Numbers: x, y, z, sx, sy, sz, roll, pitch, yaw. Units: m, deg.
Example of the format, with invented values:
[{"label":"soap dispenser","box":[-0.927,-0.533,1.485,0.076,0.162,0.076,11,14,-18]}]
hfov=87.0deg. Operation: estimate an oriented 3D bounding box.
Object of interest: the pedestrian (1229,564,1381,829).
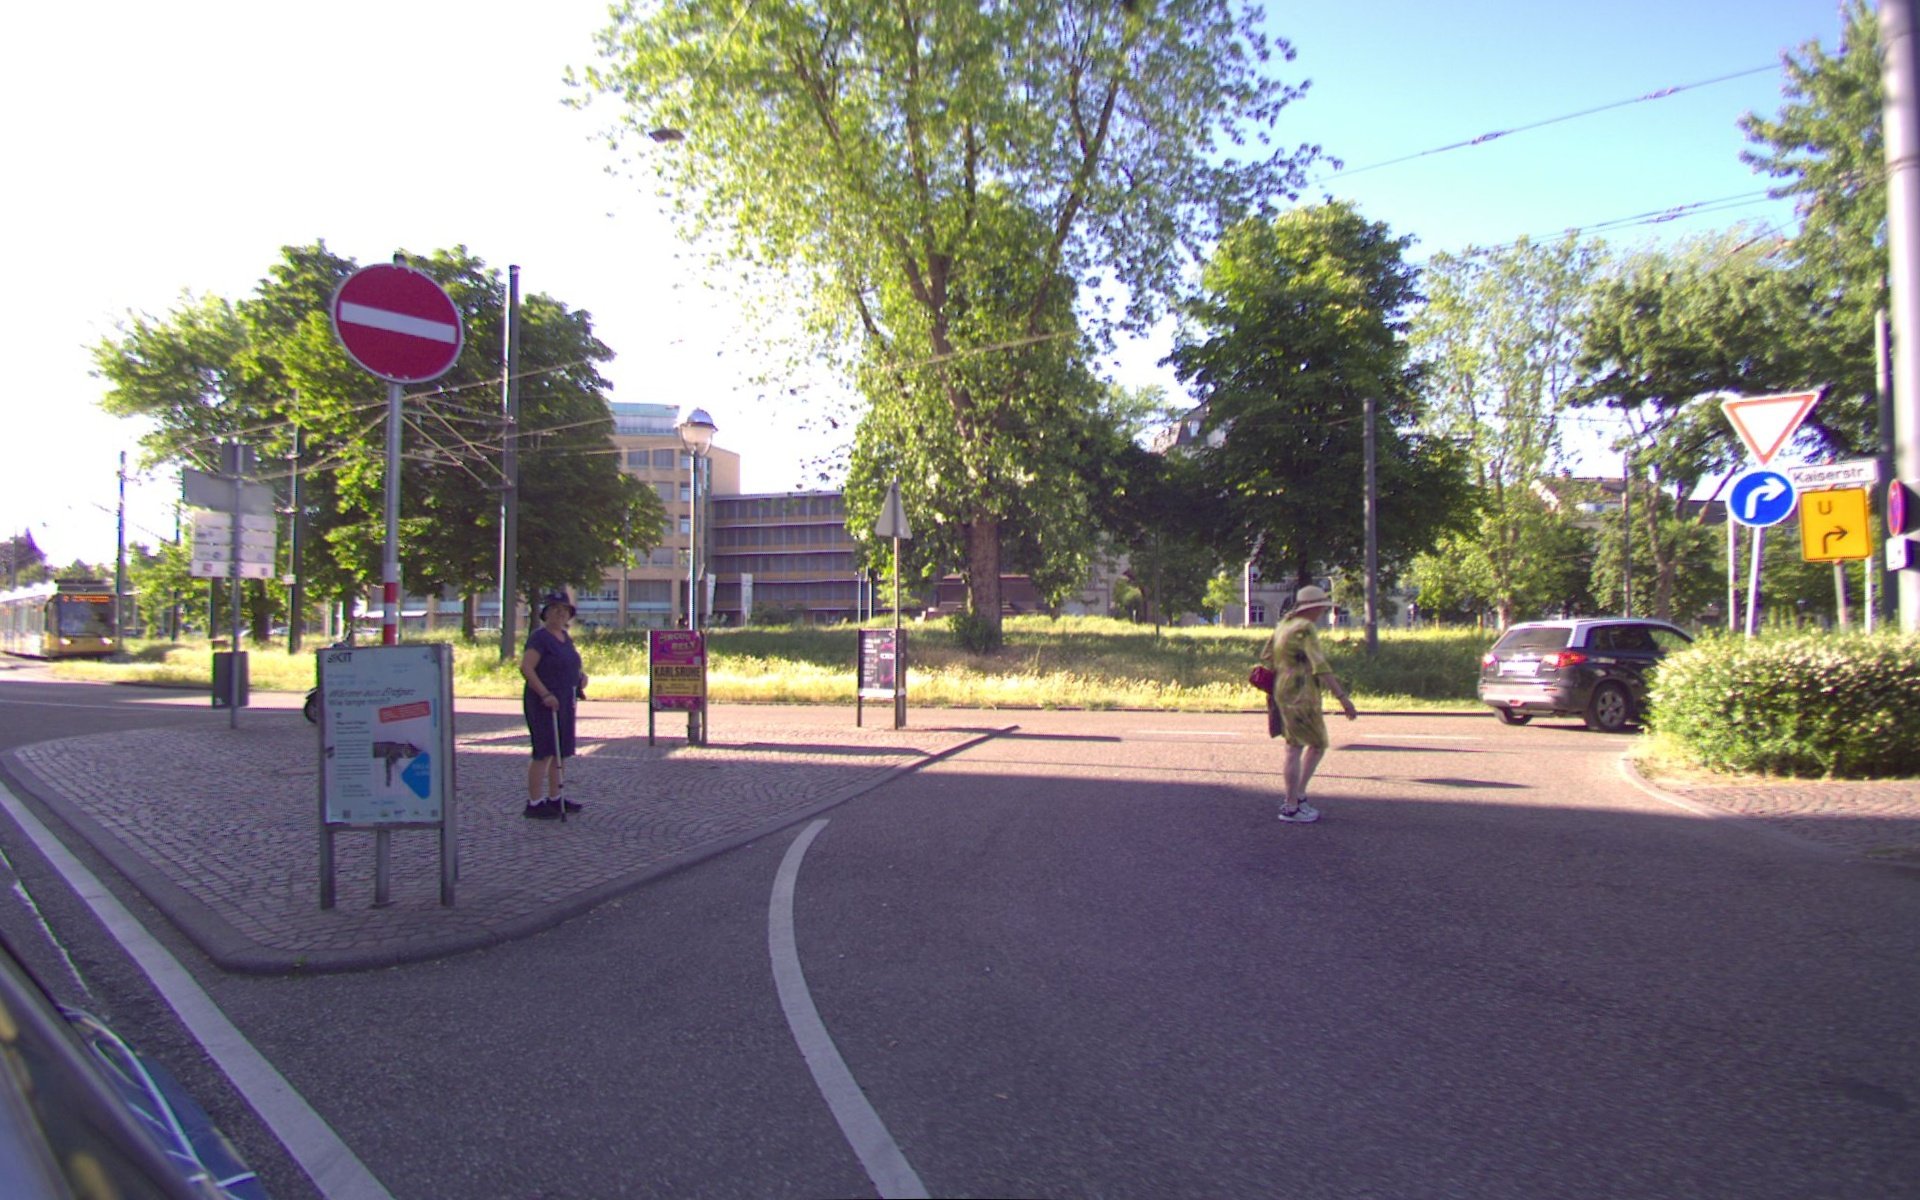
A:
[{"label":"pedestrian","box":[2.320,0.624,6.884,0.794,1.712,0.670,0,0,0]}]

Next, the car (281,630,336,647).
[{"label":"car","box":[-62.851,3.701,97.616,4.621,1.528,1.990,0,0,16]}]

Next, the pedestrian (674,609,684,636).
[{"label":"pedestrian","box":[-17.274,1.380,62.143,0.546,1.628,0.676,0,0,-11]}]

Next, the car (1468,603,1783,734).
[{"label":"car","box":[9.541,0.944,14.582,3.804,1.695,1.818,1,-2,-19]}]

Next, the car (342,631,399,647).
[{"label":"car","box":[-55.690,3.671,95.564,4.982,1.458,1.987,0,0,20]}]

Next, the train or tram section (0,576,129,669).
[{"label":"train or tram section","box":[-41.001,1.060,46.045,13.179,3.713,2.918,-2,-2,42]}]

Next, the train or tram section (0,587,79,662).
[{"label":"train or tram section","box":[-50.844,1.353,54.856,13.629,3.640,2.918,-2,-2,42]}]

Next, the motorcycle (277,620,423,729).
[{"label":"motorcycle","box":[-8.277,0.975,13.740,1.747,1.384,0.743,0,0,19]}]

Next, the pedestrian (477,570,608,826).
[{"label":"pedestrian","box":[-2.945,0.645,7.142,0.692,1.685,0.629,0,0,42]}]
